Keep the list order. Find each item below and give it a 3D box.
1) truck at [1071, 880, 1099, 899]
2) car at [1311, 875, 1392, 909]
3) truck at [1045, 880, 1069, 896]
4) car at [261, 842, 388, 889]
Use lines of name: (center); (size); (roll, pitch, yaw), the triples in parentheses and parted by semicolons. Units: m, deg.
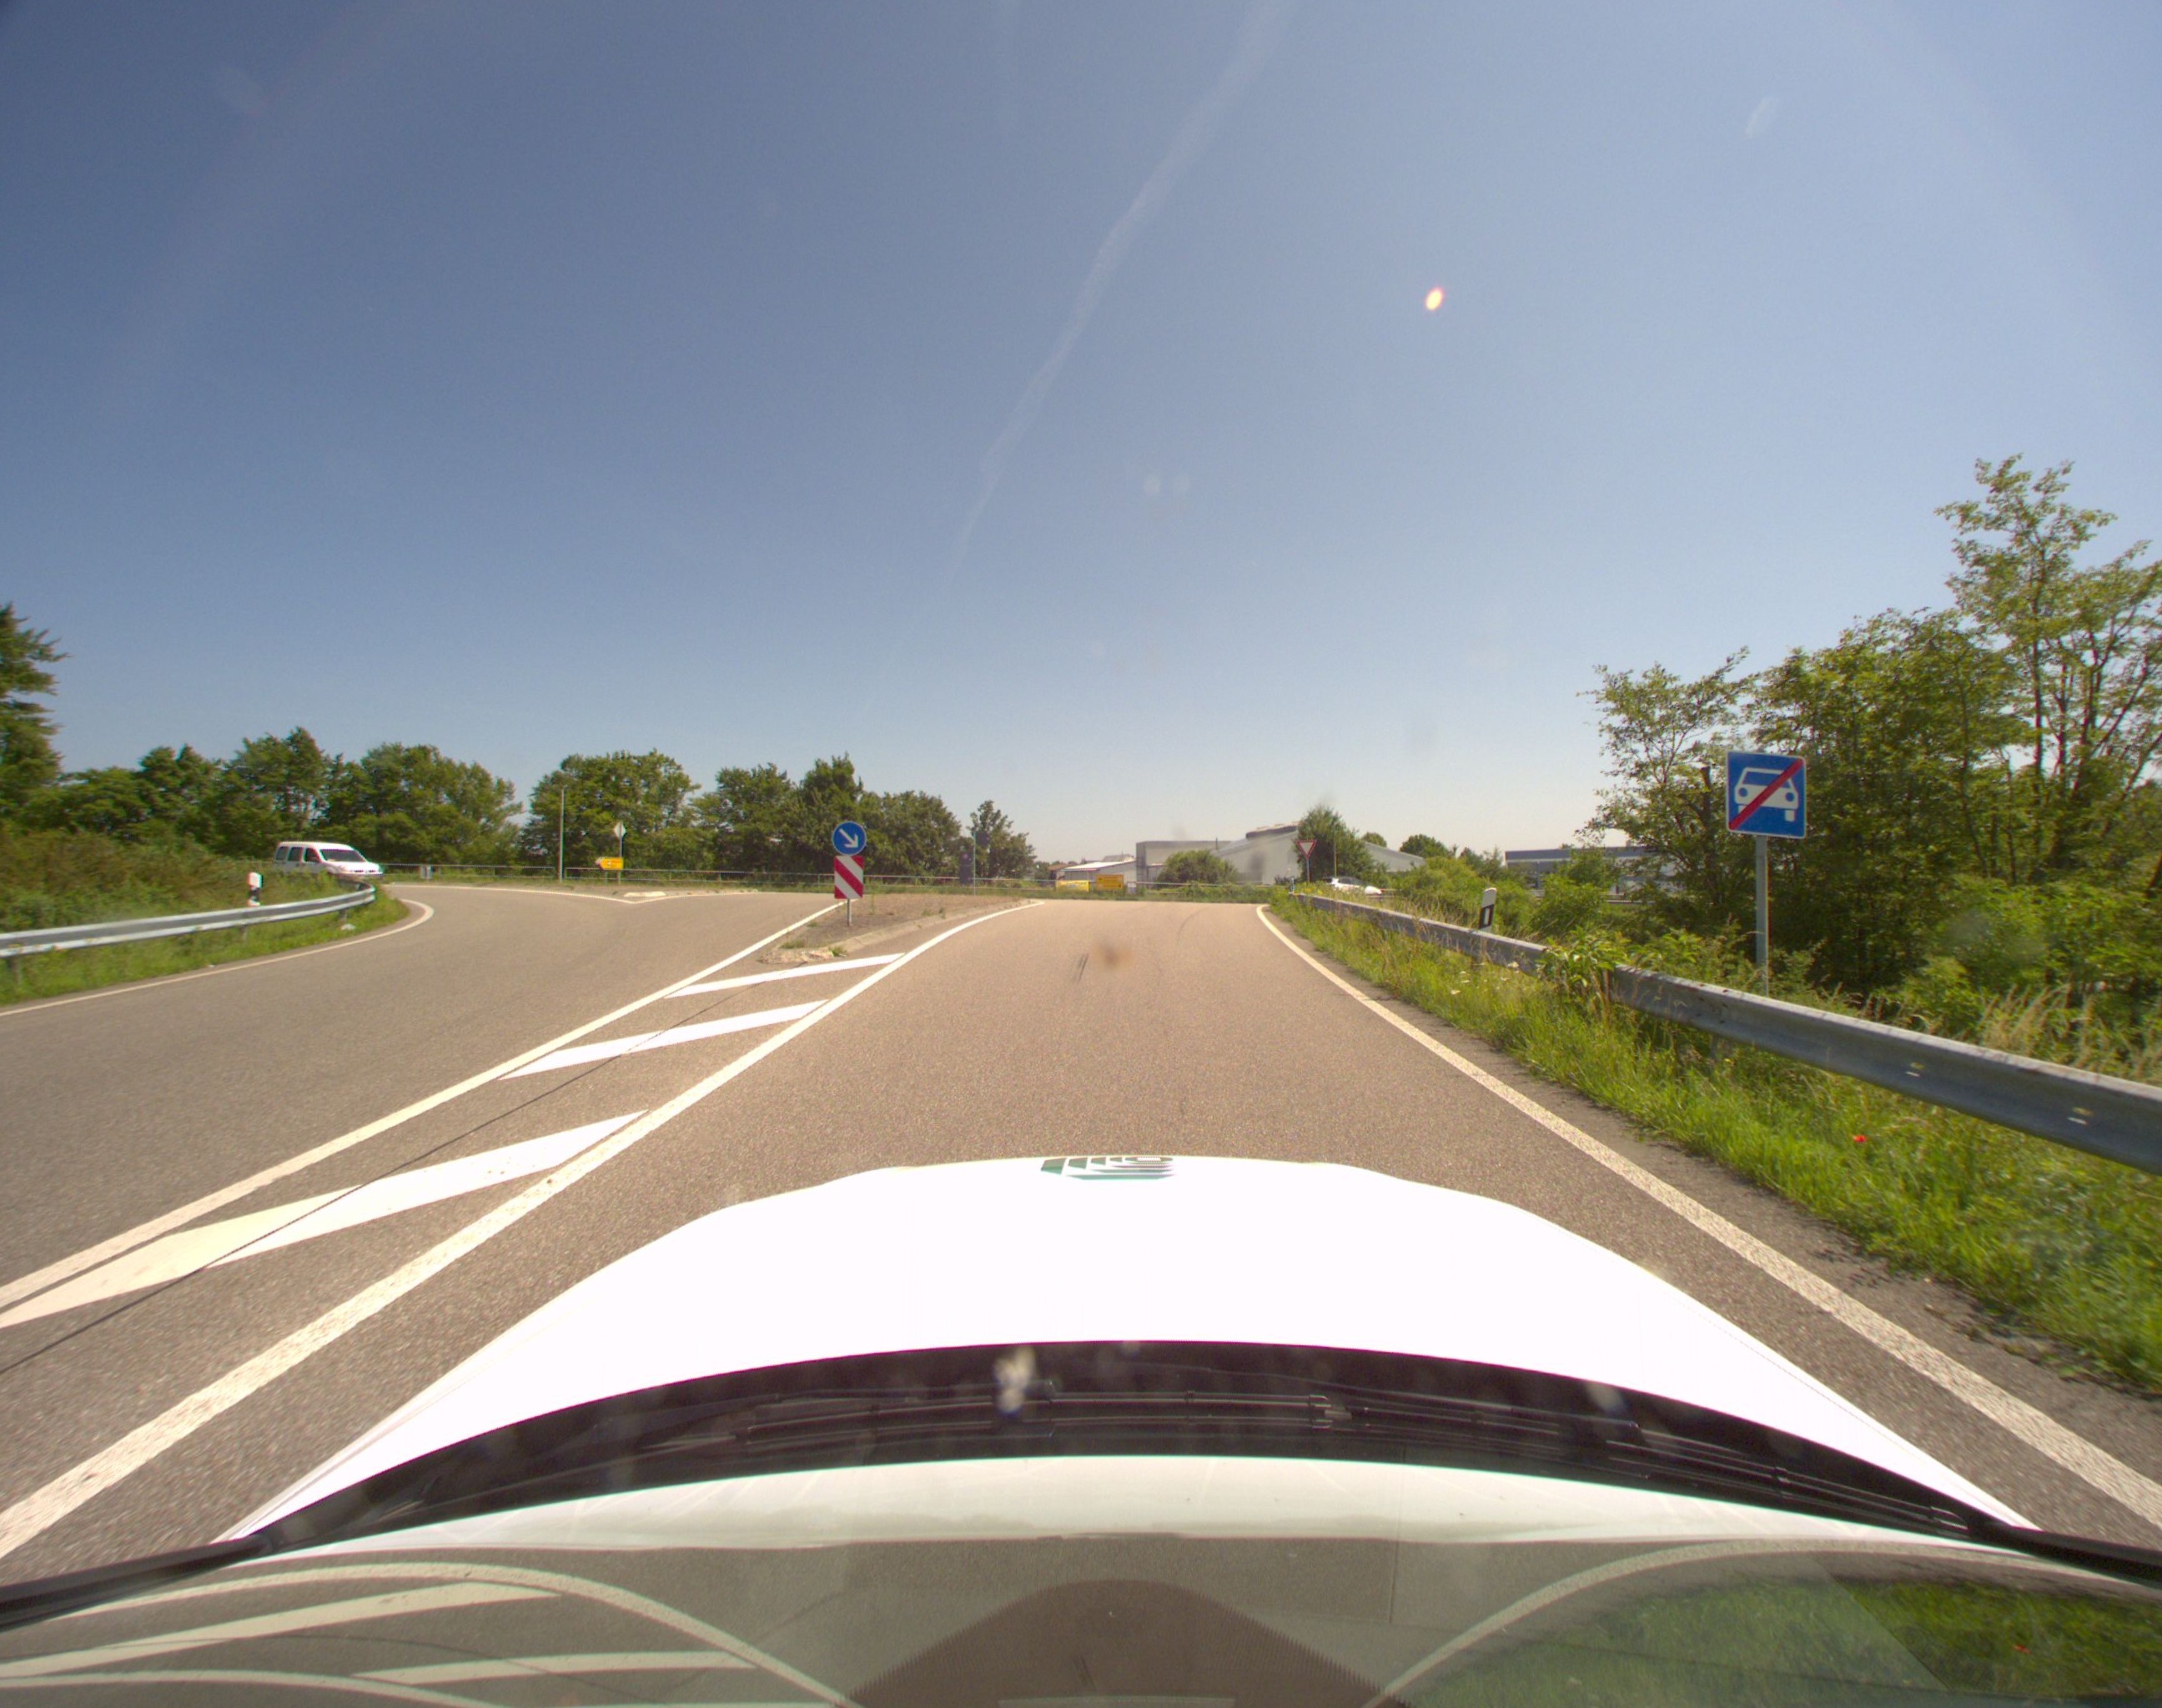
truck: (0.811, 8.326, 190.655); (3.712, 4.312, 13.281); (2, -3, -13)
car: (14.611, 2.039, 43.970); (4.006, 1.691, 1.800); (0, -2, -25)
truck: (-6.675, 9.358, 224.146); (3.416, 4.312, 14.521); (2, -3, -14)
car: (-29.683, 0.442, 31.996); (4.039, 1.761, 1.749); (0, 1, 15)
